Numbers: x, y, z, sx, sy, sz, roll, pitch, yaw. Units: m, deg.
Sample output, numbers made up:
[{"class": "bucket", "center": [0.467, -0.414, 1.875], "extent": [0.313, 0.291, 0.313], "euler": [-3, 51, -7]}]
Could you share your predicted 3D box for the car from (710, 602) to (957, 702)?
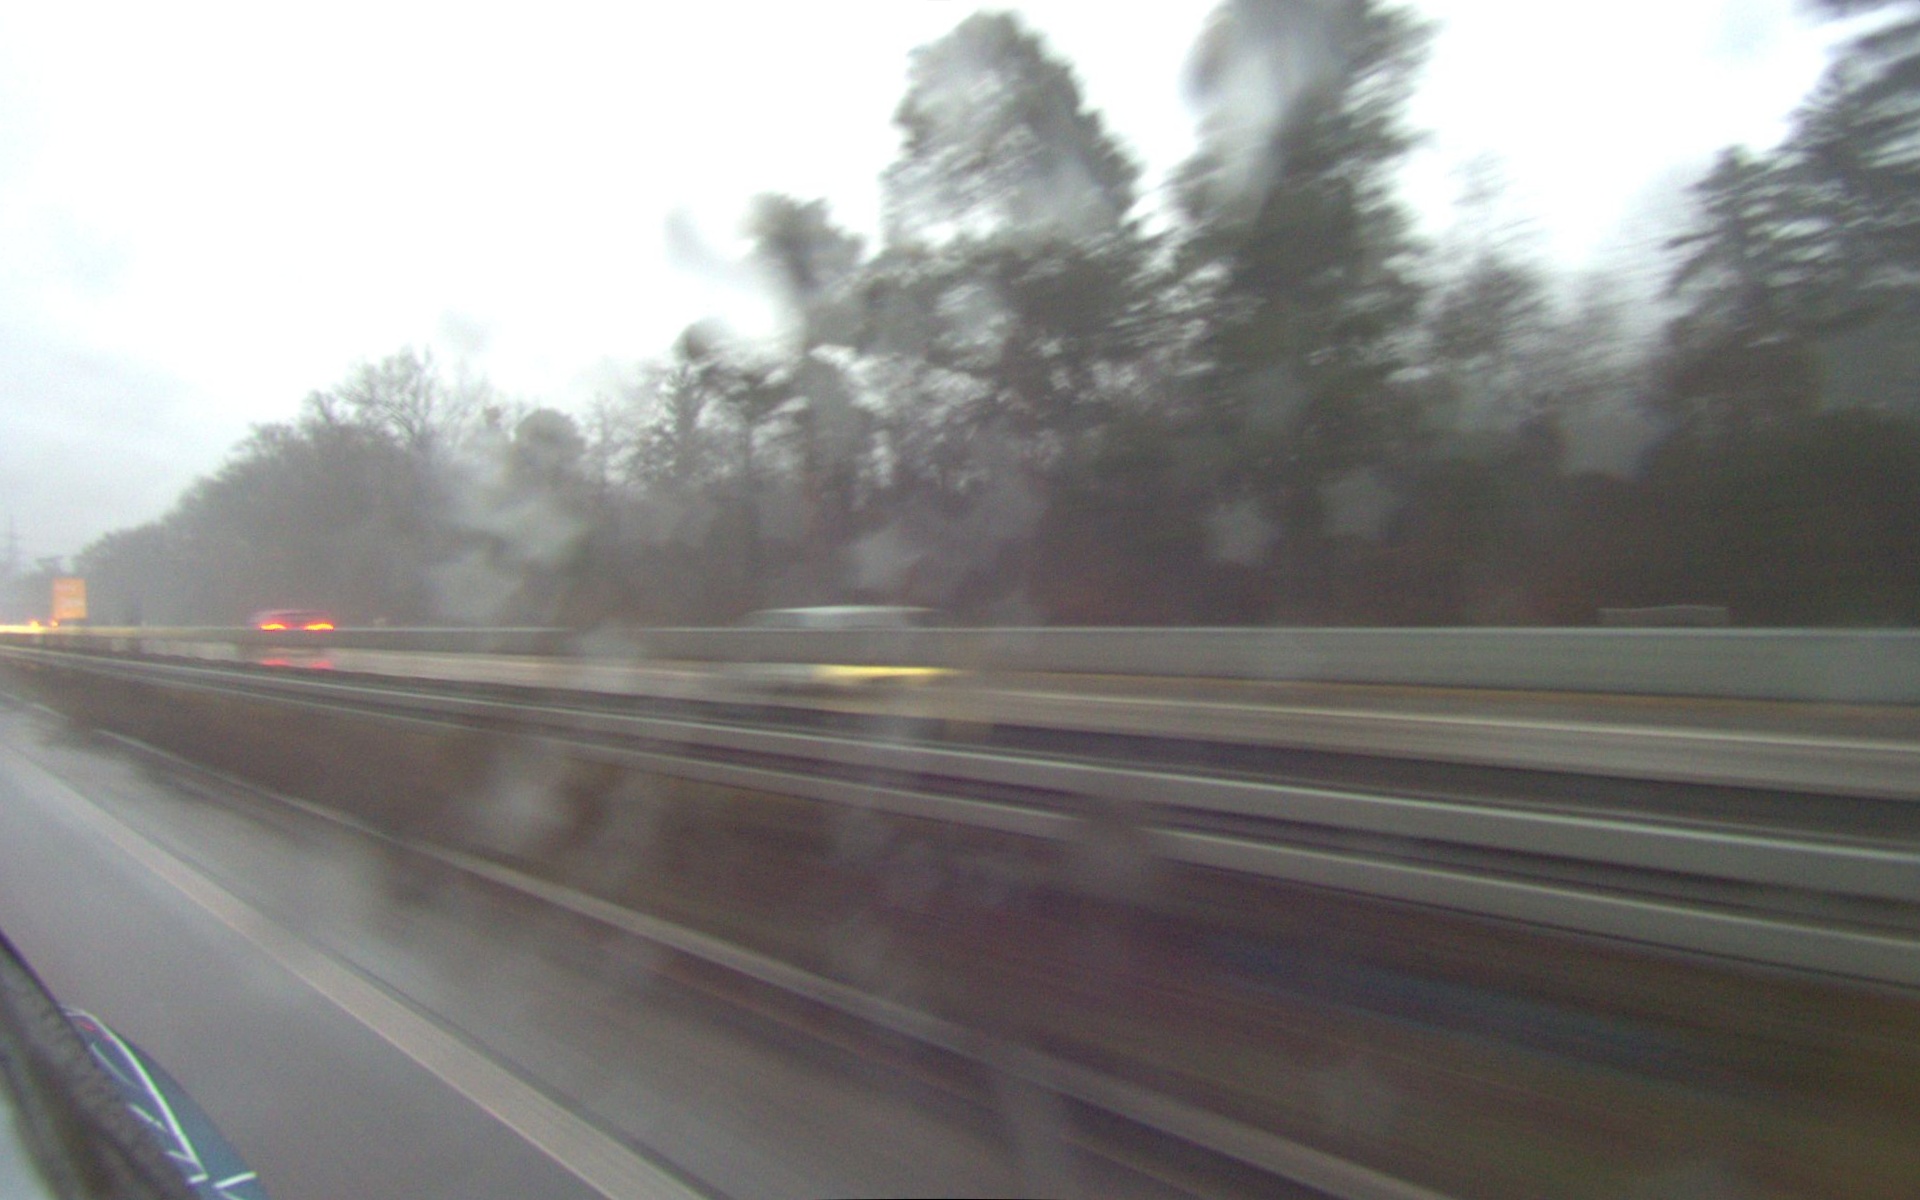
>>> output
[{"class": "car", "center": [-2.171, 0.797, 16.810], "extent": [4.038, 1.451, 1.775], "euler": [-1, -1, 39]}]

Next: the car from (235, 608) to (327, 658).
[{"class": "car", "center": [-24.651, 1.168, 36.696], "extent": [3.998, 1.704, 1.794], "euler": [-1, -1, 41]}]

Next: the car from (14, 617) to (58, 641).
[{"class": "car", "center": [-73.344, 2.260, 80.320], "extent": [4.270, 1.585, 1.973], "euler": [1, 4, 41]}]
